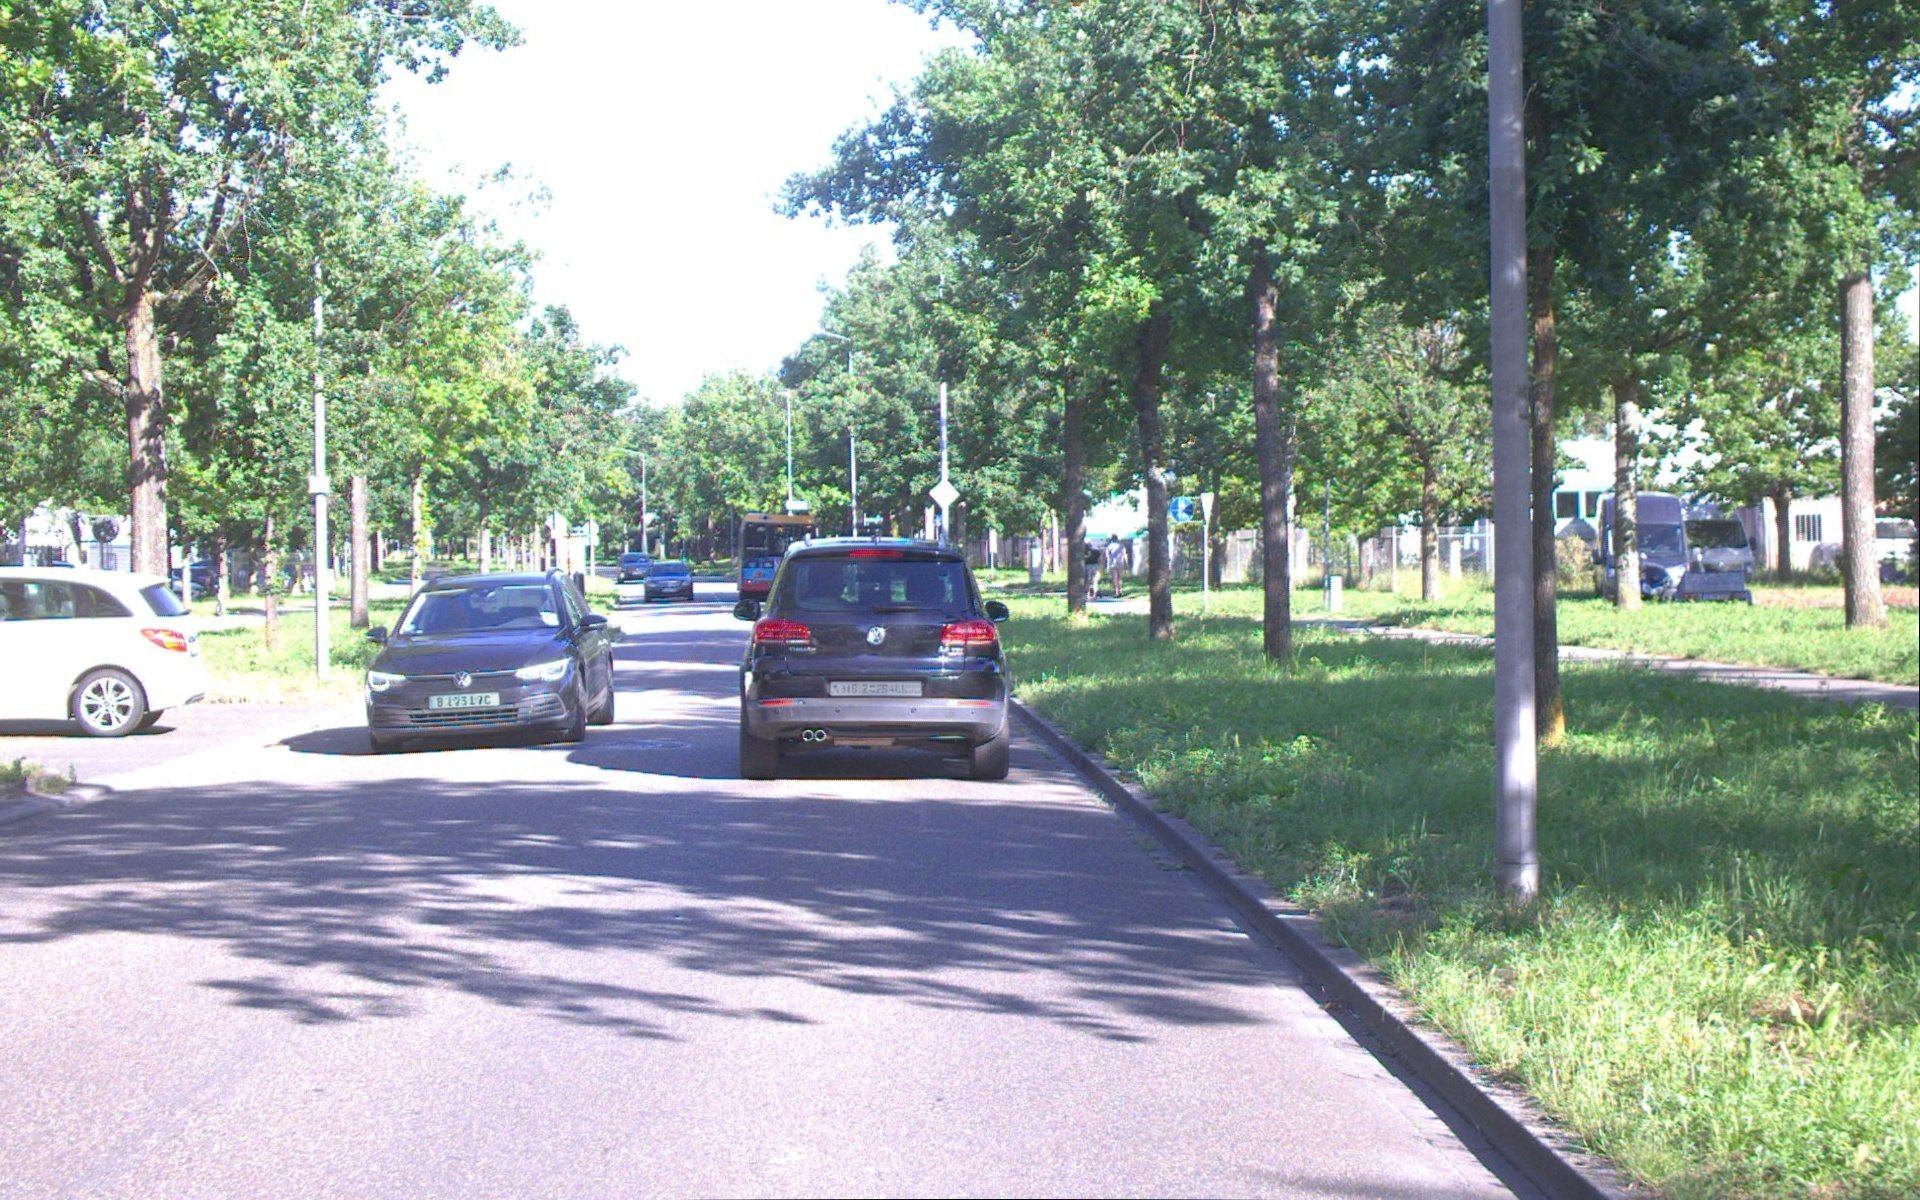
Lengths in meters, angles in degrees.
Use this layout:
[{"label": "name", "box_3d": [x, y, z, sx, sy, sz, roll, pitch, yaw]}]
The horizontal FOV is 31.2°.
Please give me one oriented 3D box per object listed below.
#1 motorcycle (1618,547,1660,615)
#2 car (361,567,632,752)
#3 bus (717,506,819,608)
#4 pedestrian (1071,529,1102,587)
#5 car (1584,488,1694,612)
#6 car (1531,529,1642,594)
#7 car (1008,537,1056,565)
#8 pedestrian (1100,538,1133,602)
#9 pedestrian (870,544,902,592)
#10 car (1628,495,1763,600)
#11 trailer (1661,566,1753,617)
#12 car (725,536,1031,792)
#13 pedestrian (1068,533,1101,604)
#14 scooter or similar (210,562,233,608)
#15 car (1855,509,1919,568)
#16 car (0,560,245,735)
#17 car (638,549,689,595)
[{"label": "motorcycle", "box_3d": [13.634, -0.369, 69.070, 0.663, 1.227, 2.405, -1, -3, 7]}, {"label": "car", "box_3d": [-3.959, 0.460, 30.003, 1.684, 1.397, 4.427, -2, 1, 1]}, {"label": "bus", "box_3d": [-6.969, -1.569, 123.419, 2.764, 3.444, 11.213, -1, 1, -8]}, {"label": "pedestrian", "box_3d": [3.498, -1.159, 95.113, 0.725, 1.597, 0.868, -1, 1, -5]}, {"label": "car", "box_3d": [15.642, -1.208, 79.489, 2.085, 2.557, 5.971, 1, 4, 7]}, {"label": "car", "box_3d": [16.512, -1.030, 90.778, 2.005, 1.658, 3.597, -1, 1, -4]}, {"label": "car", "box_3d": [4.523, -3.095, 216.388, 2.184, 1.738, 4.643, -1, 1, -10]}, {"label": "pedestrian", "box_3d": [4.366, -0.842, 96.052, 0.725, 1.749, 0.868, -3, 1, -4]}, {"label": "pedestrian", "box_3d": [-2.585, -1.129, 120.622, 1.019, 1.646, 1.100, -1, 1, -5]}, {"label": "car", "box_3d": [19.177, -1.374, 89.853, 2.160, 2.634, 4.852, -1, 1, -4]}, {"label": "trailer", "box_3d": [14.581, -0.164, 67.182, 1.579, 0.865, 2.053, -1, -3, 8]}, {"label": "car", "box_3d": [-0.687, 0.382, 24.716, 1.935, 1.650, 4.428, 0, 1, -5]}, {"label": "pedestrian", "box_3d": [3.238, -0.830, 89.606, 0.725, 1.806, 0.868, -1, 3, -5]}, {"label": "scooter or similar", "box_3d": [-20.753, -0.431, 96.671, 0.395, 1.275, 1.441, -1, 1, -4]}, {"label": "car", "box_3d": [26.872, -1.780, 99.371, 1.836, 1.634, 3.998, -1, 1, 13]}, {"label": "car", "box_3d": [-9.173, 0.413, 32.224, 4.625, 1.553, 2.192, 0, 1, -6]}, {"label": "car", "box_3d": [-10.774, -1.034, 124.984, 1.765, 1.523, 4.496, -2, 1, -5]}]
